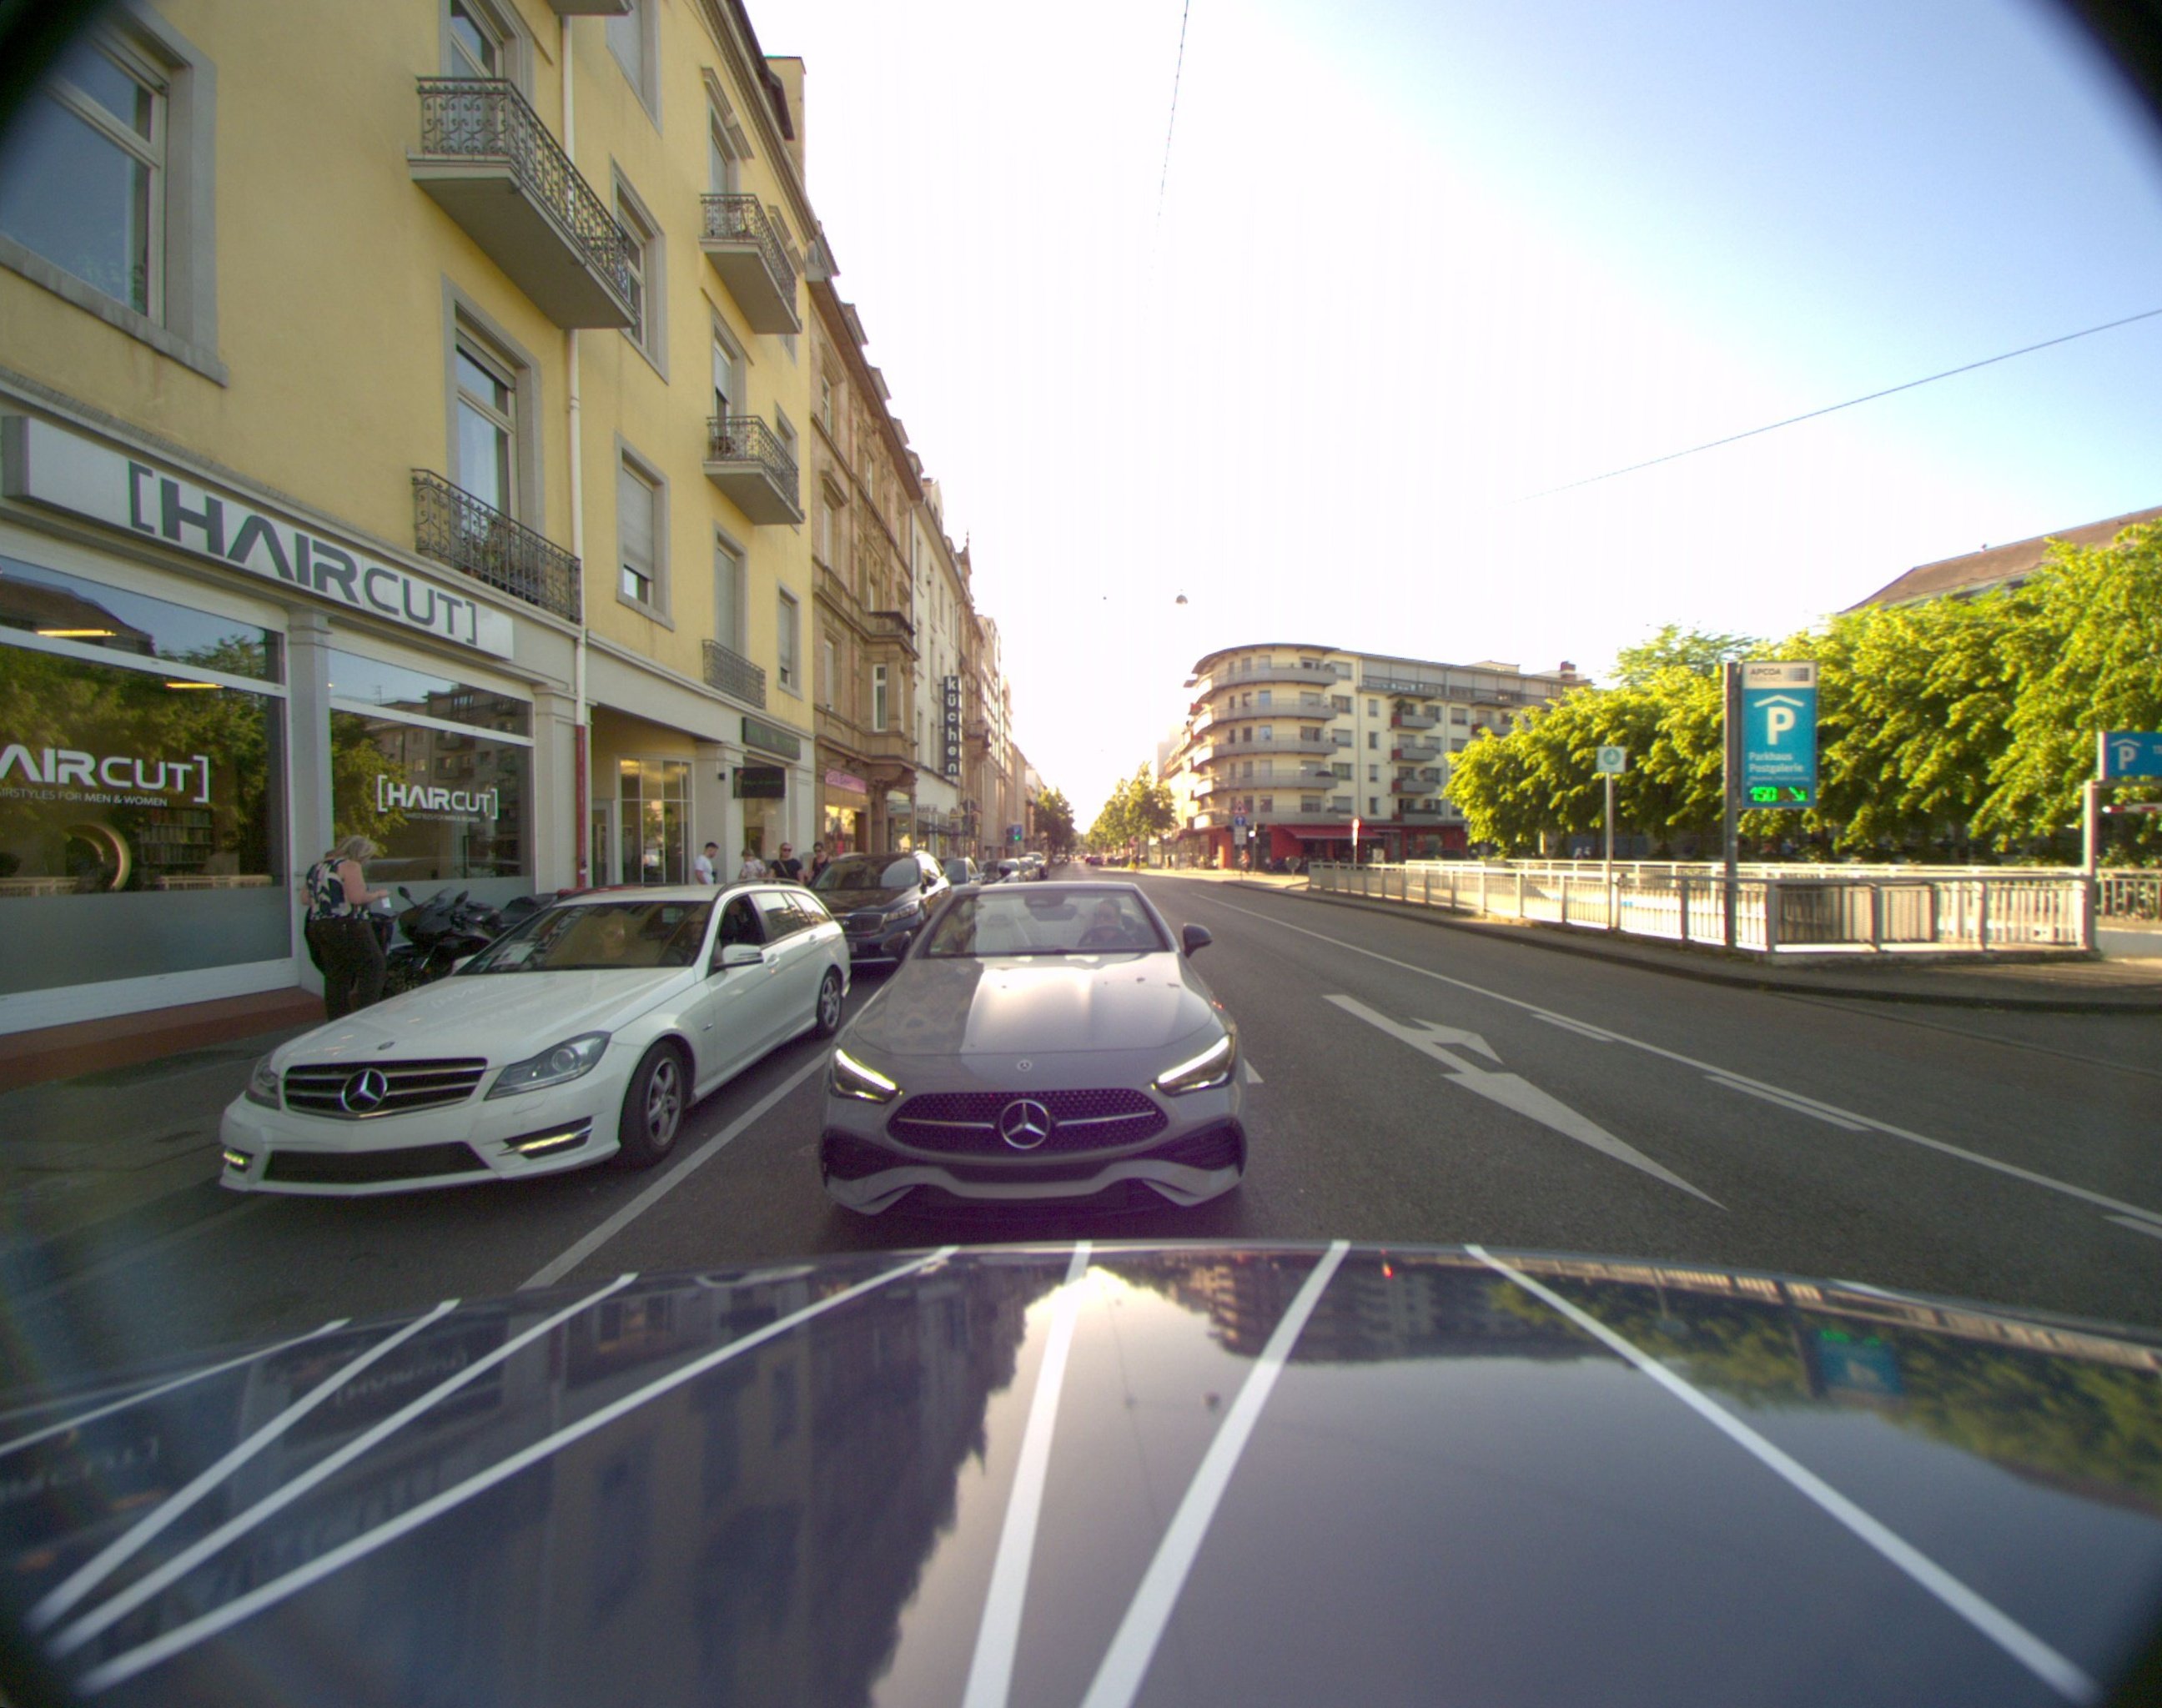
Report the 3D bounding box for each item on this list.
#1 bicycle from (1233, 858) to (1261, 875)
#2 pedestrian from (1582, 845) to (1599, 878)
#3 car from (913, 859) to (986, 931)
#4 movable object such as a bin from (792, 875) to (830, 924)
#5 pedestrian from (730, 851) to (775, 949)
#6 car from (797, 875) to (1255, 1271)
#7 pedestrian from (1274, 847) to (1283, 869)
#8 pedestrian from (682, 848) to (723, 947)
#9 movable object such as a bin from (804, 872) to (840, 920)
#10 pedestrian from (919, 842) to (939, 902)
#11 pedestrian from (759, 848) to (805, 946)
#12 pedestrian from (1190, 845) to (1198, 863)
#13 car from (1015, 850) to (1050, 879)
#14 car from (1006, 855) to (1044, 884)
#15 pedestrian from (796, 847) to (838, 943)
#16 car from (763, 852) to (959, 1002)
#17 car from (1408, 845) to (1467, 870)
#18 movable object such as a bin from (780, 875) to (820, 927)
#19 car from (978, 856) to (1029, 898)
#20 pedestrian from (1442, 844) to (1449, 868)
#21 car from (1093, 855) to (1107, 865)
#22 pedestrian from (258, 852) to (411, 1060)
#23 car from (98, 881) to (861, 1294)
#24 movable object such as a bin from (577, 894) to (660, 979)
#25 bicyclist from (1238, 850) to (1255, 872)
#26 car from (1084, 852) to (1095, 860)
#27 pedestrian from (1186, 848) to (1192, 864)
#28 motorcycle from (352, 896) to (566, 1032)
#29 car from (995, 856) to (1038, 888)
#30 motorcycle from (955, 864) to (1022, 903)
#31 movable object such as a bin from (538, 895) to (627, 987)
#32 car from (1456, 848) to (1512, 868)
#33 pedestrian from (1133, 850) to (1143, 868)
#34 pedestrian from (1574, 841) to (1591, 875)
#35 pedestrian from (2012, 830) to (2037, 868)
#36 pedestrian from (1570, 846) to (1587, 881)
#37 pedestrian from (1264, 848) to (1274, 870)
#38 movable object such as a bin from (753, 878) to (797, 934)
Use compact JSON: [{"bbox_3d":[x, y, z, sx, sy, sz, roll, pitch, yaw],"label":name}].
[{"bbox_3d":[12.107,0.906,55.483,1.868,1.205,0.715,-1,1,40],"label":"bicycle"},{"bbox_3d":[27.476,0.395,40.980,0.602,1.782,0.581,-3,2,-40],"label":"pedestrian"},{"bbox_3d":[-3.027,0.900,17.888,1.275,1.509,2.794,-1,0,-2],"label":"car"},{"bbox_3d":[-6.064,1.011,17.099,0.606,1.060,0.619,2,1,0],"label":"movable object such as a bin"},{"bbox_3d":[-5.700,0.780,13.193,0.450,1.651,0.594,1,1,45],"label":"pedestrian"},{"bbox_3d":[-0.215,0.964,5.310,1.848,1.440,4.373,-1,0,0],"label":"car"},{"bbox_3d":[15.423,0.348,59.374,0.575,1.698,0.642,-1,1,3],"label":"pedestrian"},{"bbox_3d":[-6.470,0.722,13.009,0.337,1.651,0.525,1,1,26],"label":"pedestrian"},{"bbox_3d":[-6.050,0.976,17.769,0.606,1.060,0.619,2,1,0],"label":"movable object such as a bin"},{"bbox_3d":[-4.562,0.532,22.801,0.434,1.752,0.481,-2,1,1],"label":"pedestrian"},{"bbox_3d":[-5.101,0.716,12.989,0.619,1.623,0.462,-2,1,-13],"label":"pedestrian"},{"bbox_3d":[10.648,-0.005,71.630,0.570,1.612,0.793,-2,1,-3],"label":"pedestrian"},{"bbox_3d":[-3.000,0.637,47.733,1.895,1.680,4.049,-1,0,0],"label":"car"},{"bbox_3d":[-2.994,0.813,41.104,1.737,1.409,3.802,-1,0,0],"label":"car"},{"bbox_3d":[-4.557,0.697,13.120,0.514,1.623,0.414,-1,1,2],"label":"pedestrian"},{"bbox_3d":[-2.975,0.862,11.306,1.760,1.726,4.571,-1,0,-3],"label":"car"},{"bbox_3d":[29.301,0.252,62.442,4.432,1.901,1.951,-2,1,-24],"label":"car"},{"bbox_3d":[-6.075,1.005,16.466,0.606,1.060,0.619,2,1,0],"label":"movable object such as a bin"},{"bbox_3d":[-3.038,0.863,30.555,1.737,1.509,4.164,-1,0,-2],"label":"car"},{"bbox_3d":[25.379,0.126,52.904,0.322,1.658,0.362,-1,1,32],"label":"pedestrian"},{"bbox_3d":[2.666,0.805,108.603,1.806,1.388,3.926,-1,0,0],"label":"car"},{"bbox_3d":[-6.063,0.800,6.200,0.698,1.623,0.532,0,1,-2],"label":"pedestrian"},{"bbox_3d":[-3.061,1.023,5.295,1.743,1.438,4.463,-1,0,0],"label":"car"},{"bbox_3d":[-6.068,1.068,9.995,0.669,1.019,0.619,2,1,3],"label":"movable object such as a bin"},{"bbox_3d":[12.071,0.500,55.492,0.973,1.605,0.715,-1,1,40],"label":"bicyclist"},{"bbox_3d":[1.547,0.319,140.188,1.895,1.388,4.255,-1,0,-1],"label":"car"},{"bbox_3d":[10.177,0.189,71.647,0.376,1.521,0.516,-2,1,-3],"label":"pedestrian"},{"bbox_3d":[-6.206,1.035,7.758,0.551,1.085,2.009,0,0,-1],"label":"motorcycle"},{"bbox_3d":[-3.072,0.847,36.860,1.737,1.409,3.802,-1,0,0],"label":"car"},{"bbox_3d":[-3.209,1.007,26.546,2.178,1.272,0.866,-2,1,-42],"label":"motorcycle"},{"bbox_3d":[-6.116,1.049,9.351,0.661,1.035,0.619,2,1,3],"label":"movable object such as a bin"},{"bbox_3d":[34.284,0.331,64.682,4.300,1.611,1.951,-2,1,-24],"label":"car"},{"bbox_3d":[5.103,0.426,67.574,0.774,1.606,0.696,-1,1,-3],"label":"pedestrian"},{"bbox_3d":[26.516,0.225,40.180,0.602,1.782,0.581,-3,2,-45],"label":"pedestrian"},{"bbox_3d":[44.494,-0.246,35.841,0.602,1.782,0.581,-2,1,-20],"label":"pedestrian"},{"bbox_3d":[25.855,0.496,39.493,0.602,1.782,0.581,-3,2,-45],"label":"pedestrian"},{"bbox_3d":[14.764,0.368,59.705,0.575,1.698,0.642,-1,1,3],"label":"pedestrian"},{"bbox_3d":[-6.110,1.020,15.204,0.606,1.060,0.619,2,1,0],"label":"movable object such as a bin"}]
